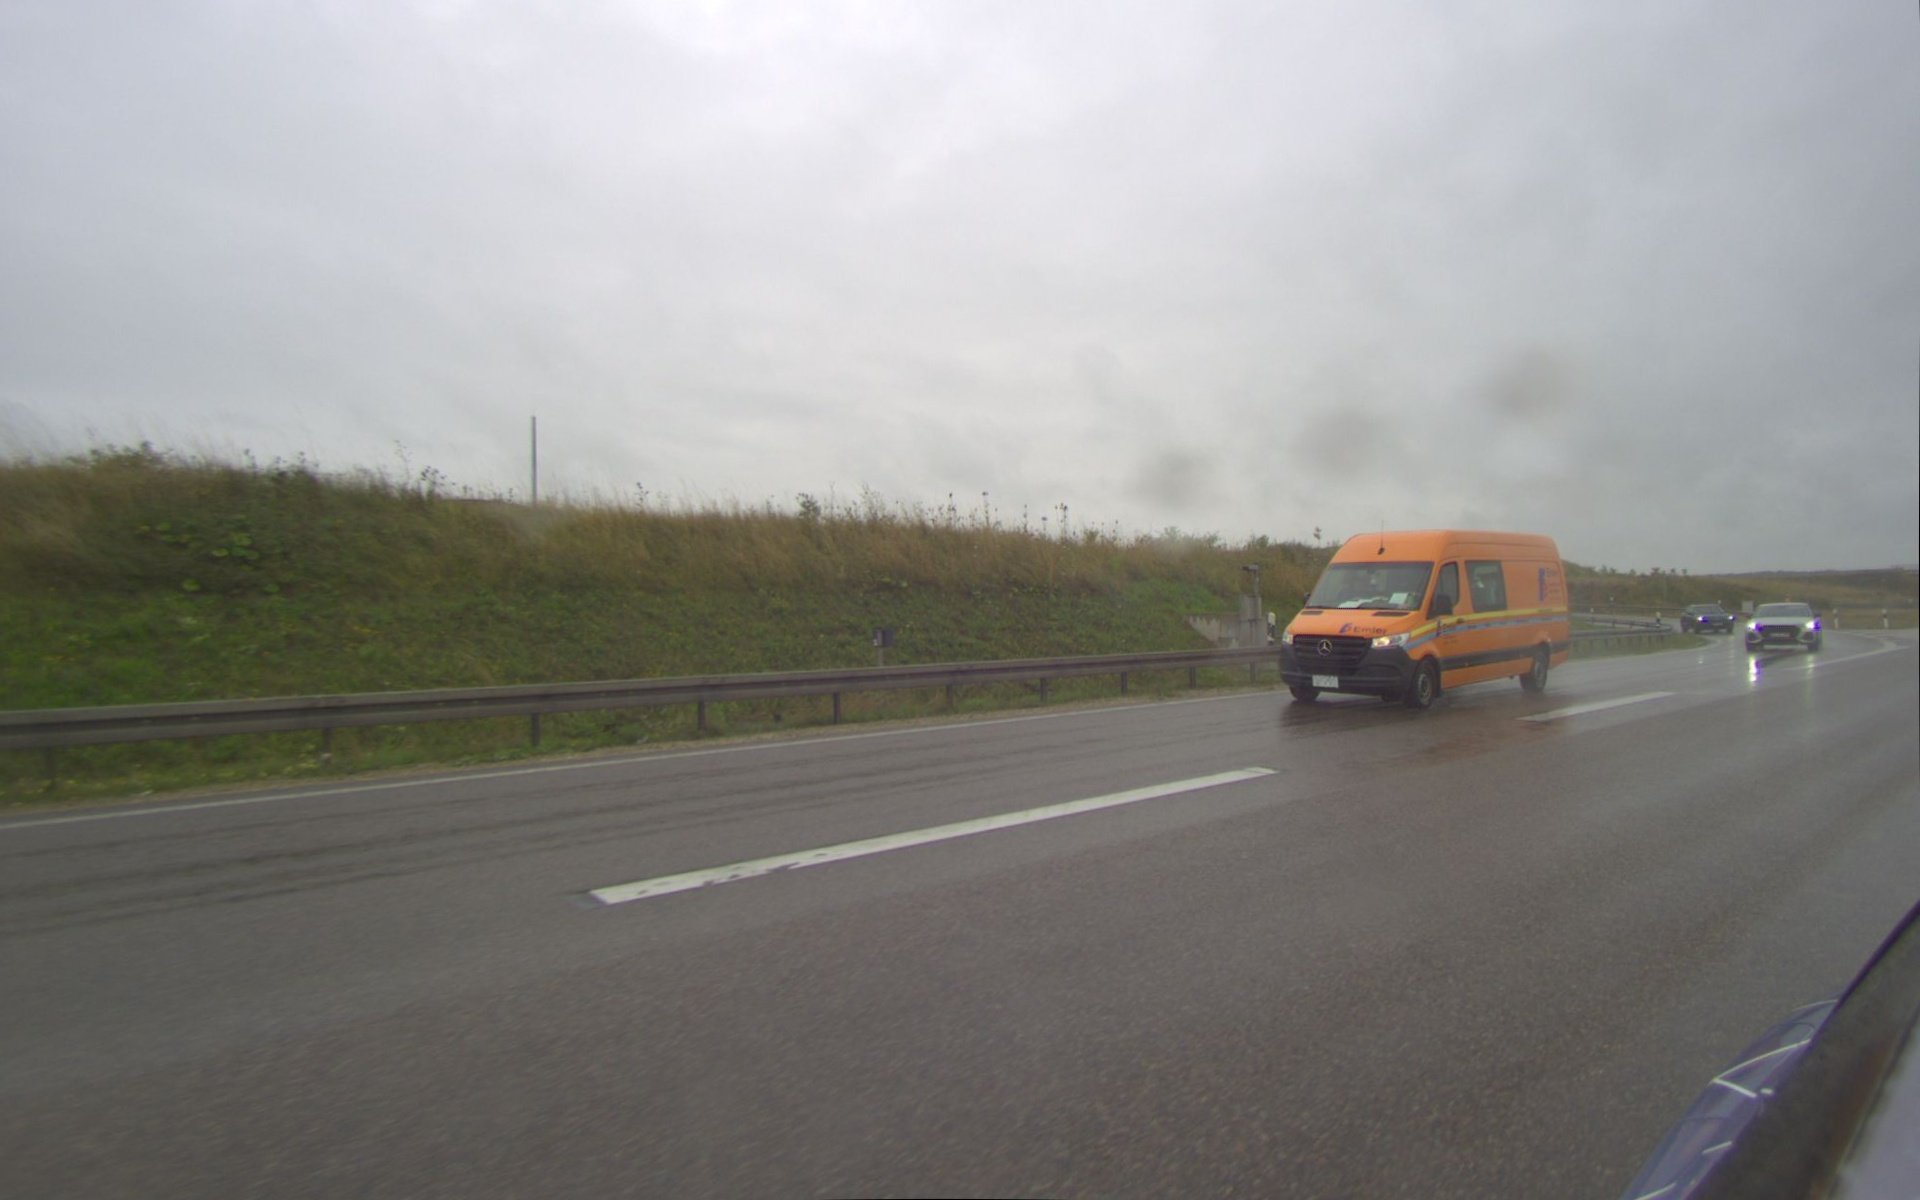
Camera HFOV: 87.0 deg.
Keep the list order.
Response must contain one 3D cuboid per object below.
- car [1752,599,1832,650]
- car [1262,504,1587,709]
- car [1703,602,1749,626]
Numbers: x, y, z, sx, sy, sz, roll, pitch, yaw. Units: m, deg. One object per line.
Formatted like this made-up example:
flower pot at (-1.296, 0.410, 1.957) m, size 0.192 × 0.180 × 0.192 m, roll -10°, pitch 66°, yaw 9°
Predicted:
car at (27.777, 0.761, 33.731) m, size 1.907 × 1.504 × 4.411 m, roll 1°, pitch 1°, yaw 41°
car at (7.610, 0.077, 16.081) m, size 6.766 × 2.649 × 2.064 m, roll 0°, pitch -1°, yaw -41°
car at (44.534, 0.790, 58.815) m, size 1.814 × 1.304 × 3.939 m, roll 0°, pitch 0°, yaw 42°
